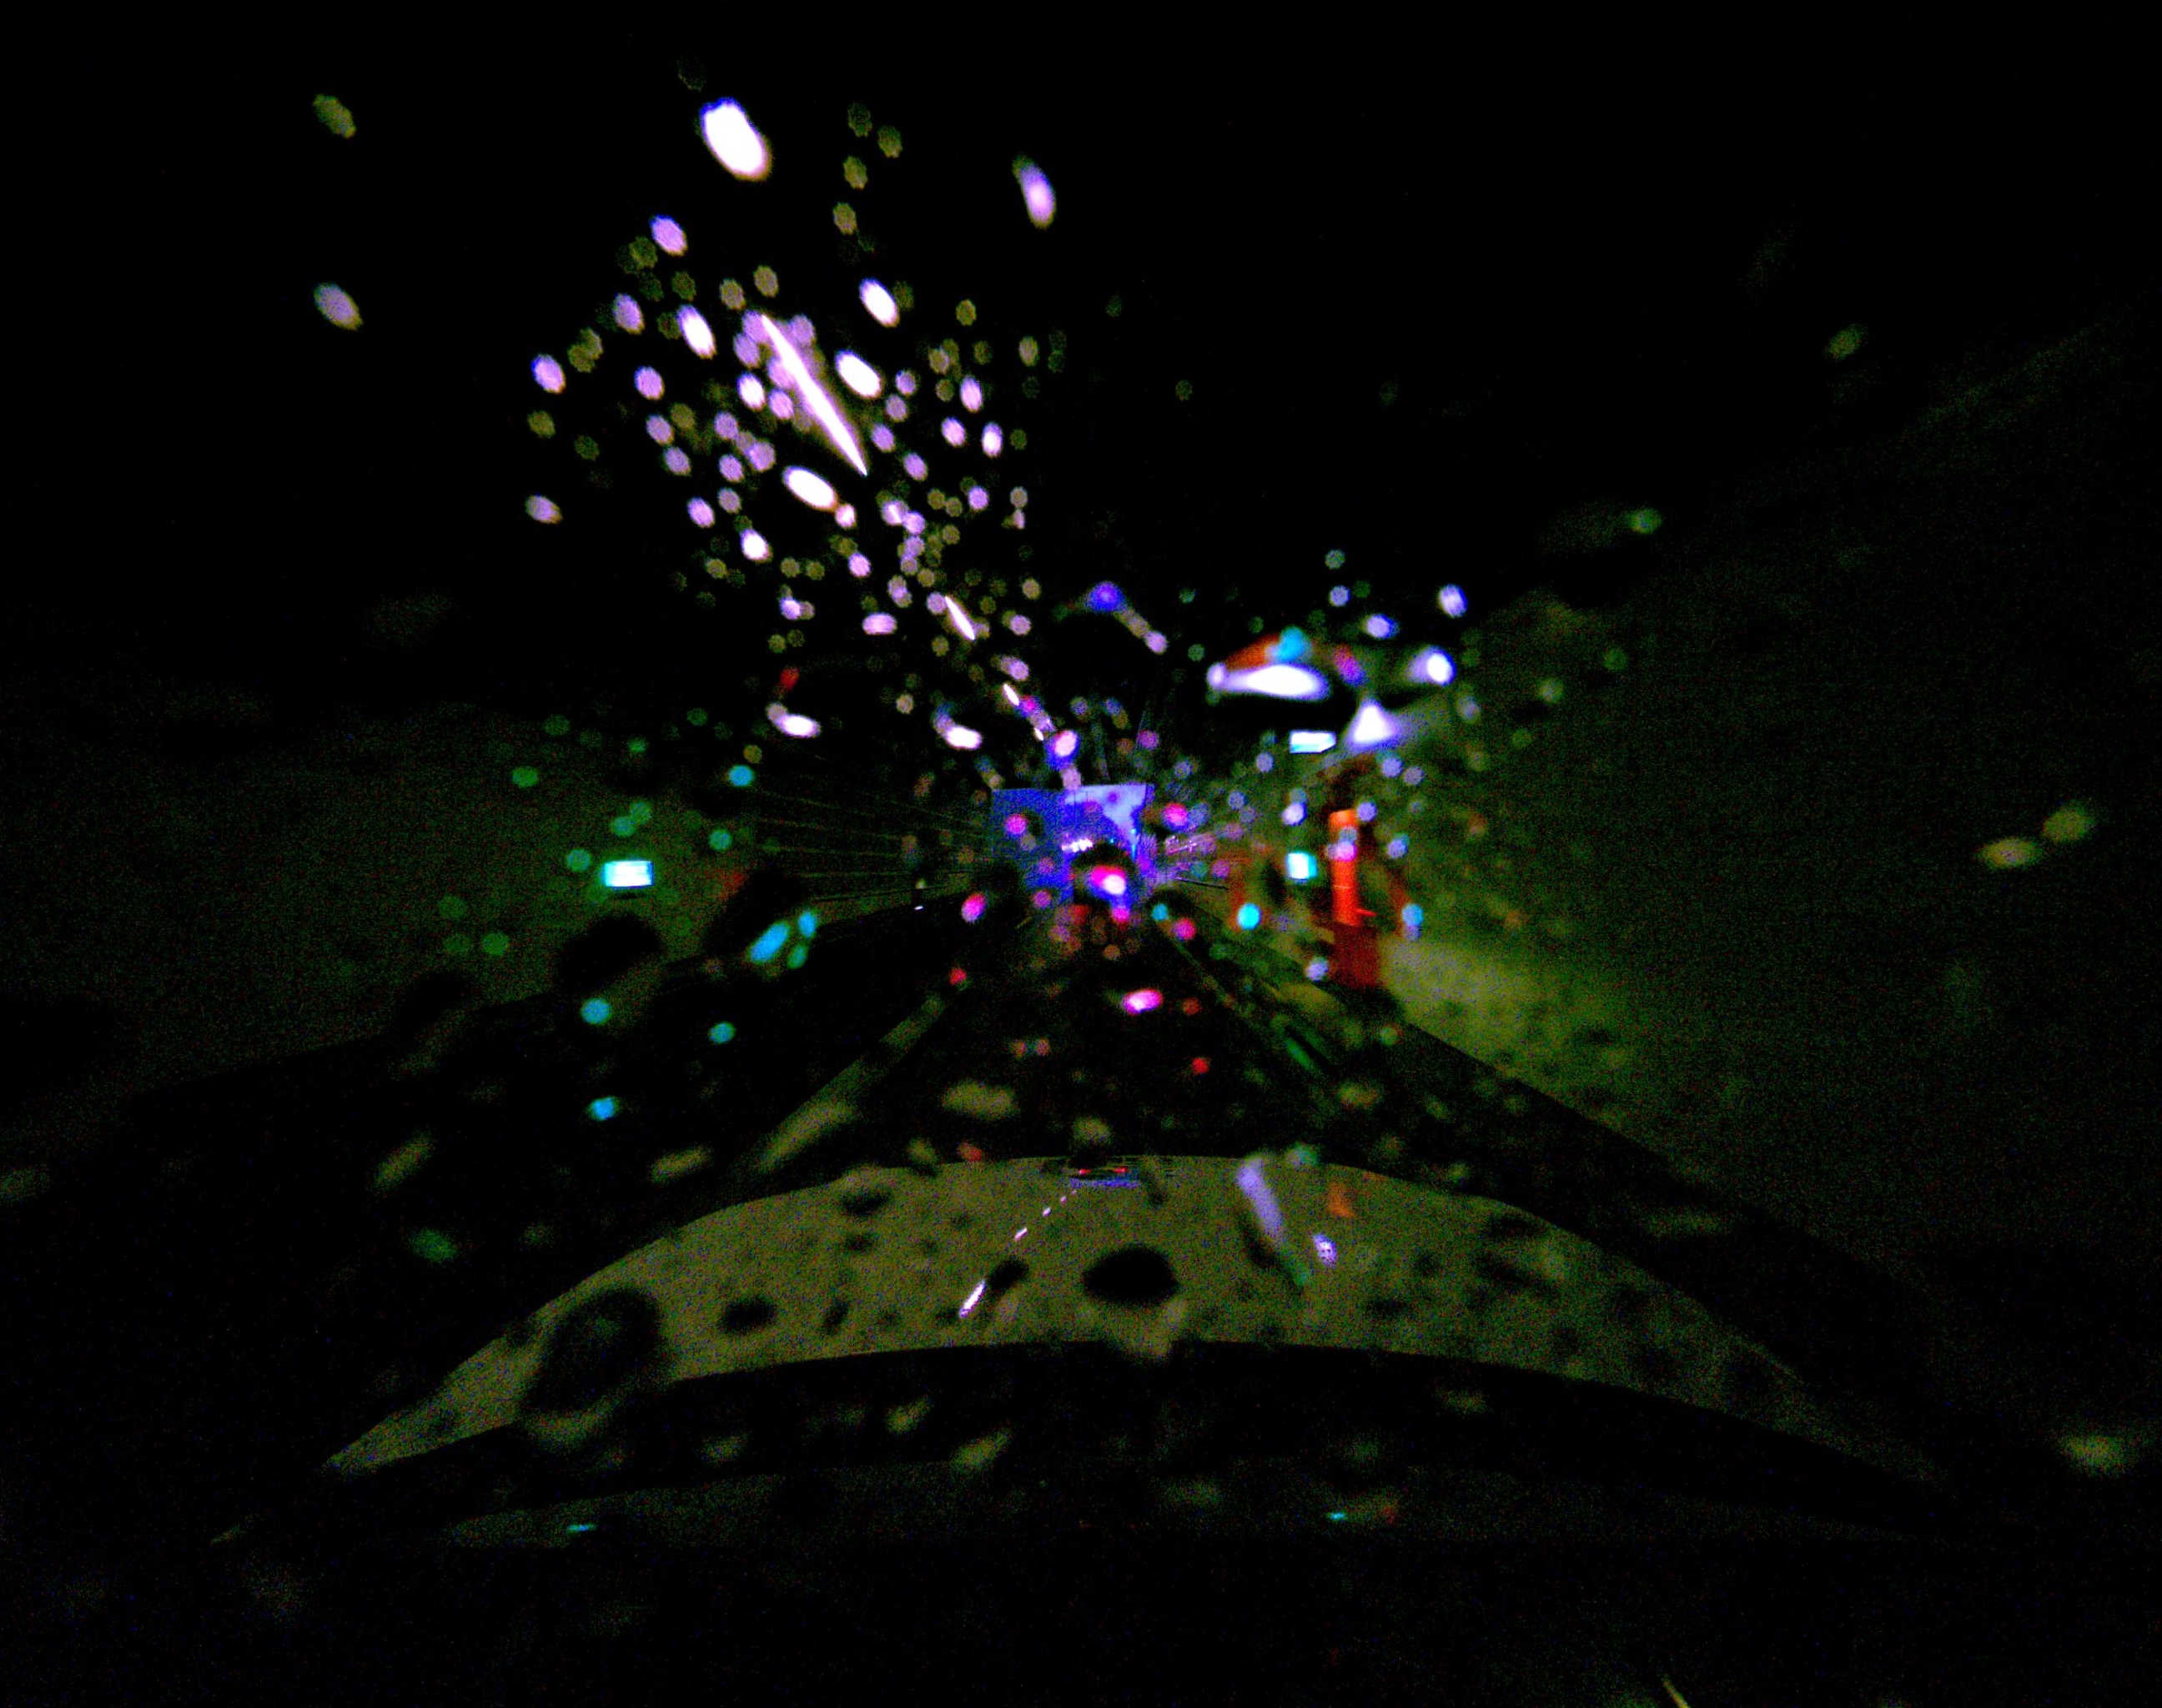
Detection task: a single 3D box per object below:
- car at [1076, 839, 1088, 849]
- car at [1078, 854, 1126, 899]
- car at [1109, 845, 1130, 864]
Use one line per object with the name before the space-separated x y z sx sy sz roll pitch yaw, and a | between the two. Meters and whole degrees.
car | 0.147 -1.802 144.671 1.872 1.621 4.004 1 -1 4
car | 0.691 0.730 27.677 1.526 1.397 3.434 0 -1 1
car | 3.496 0.046 74.546 1.873 1.621 4.001 1 -1 2
